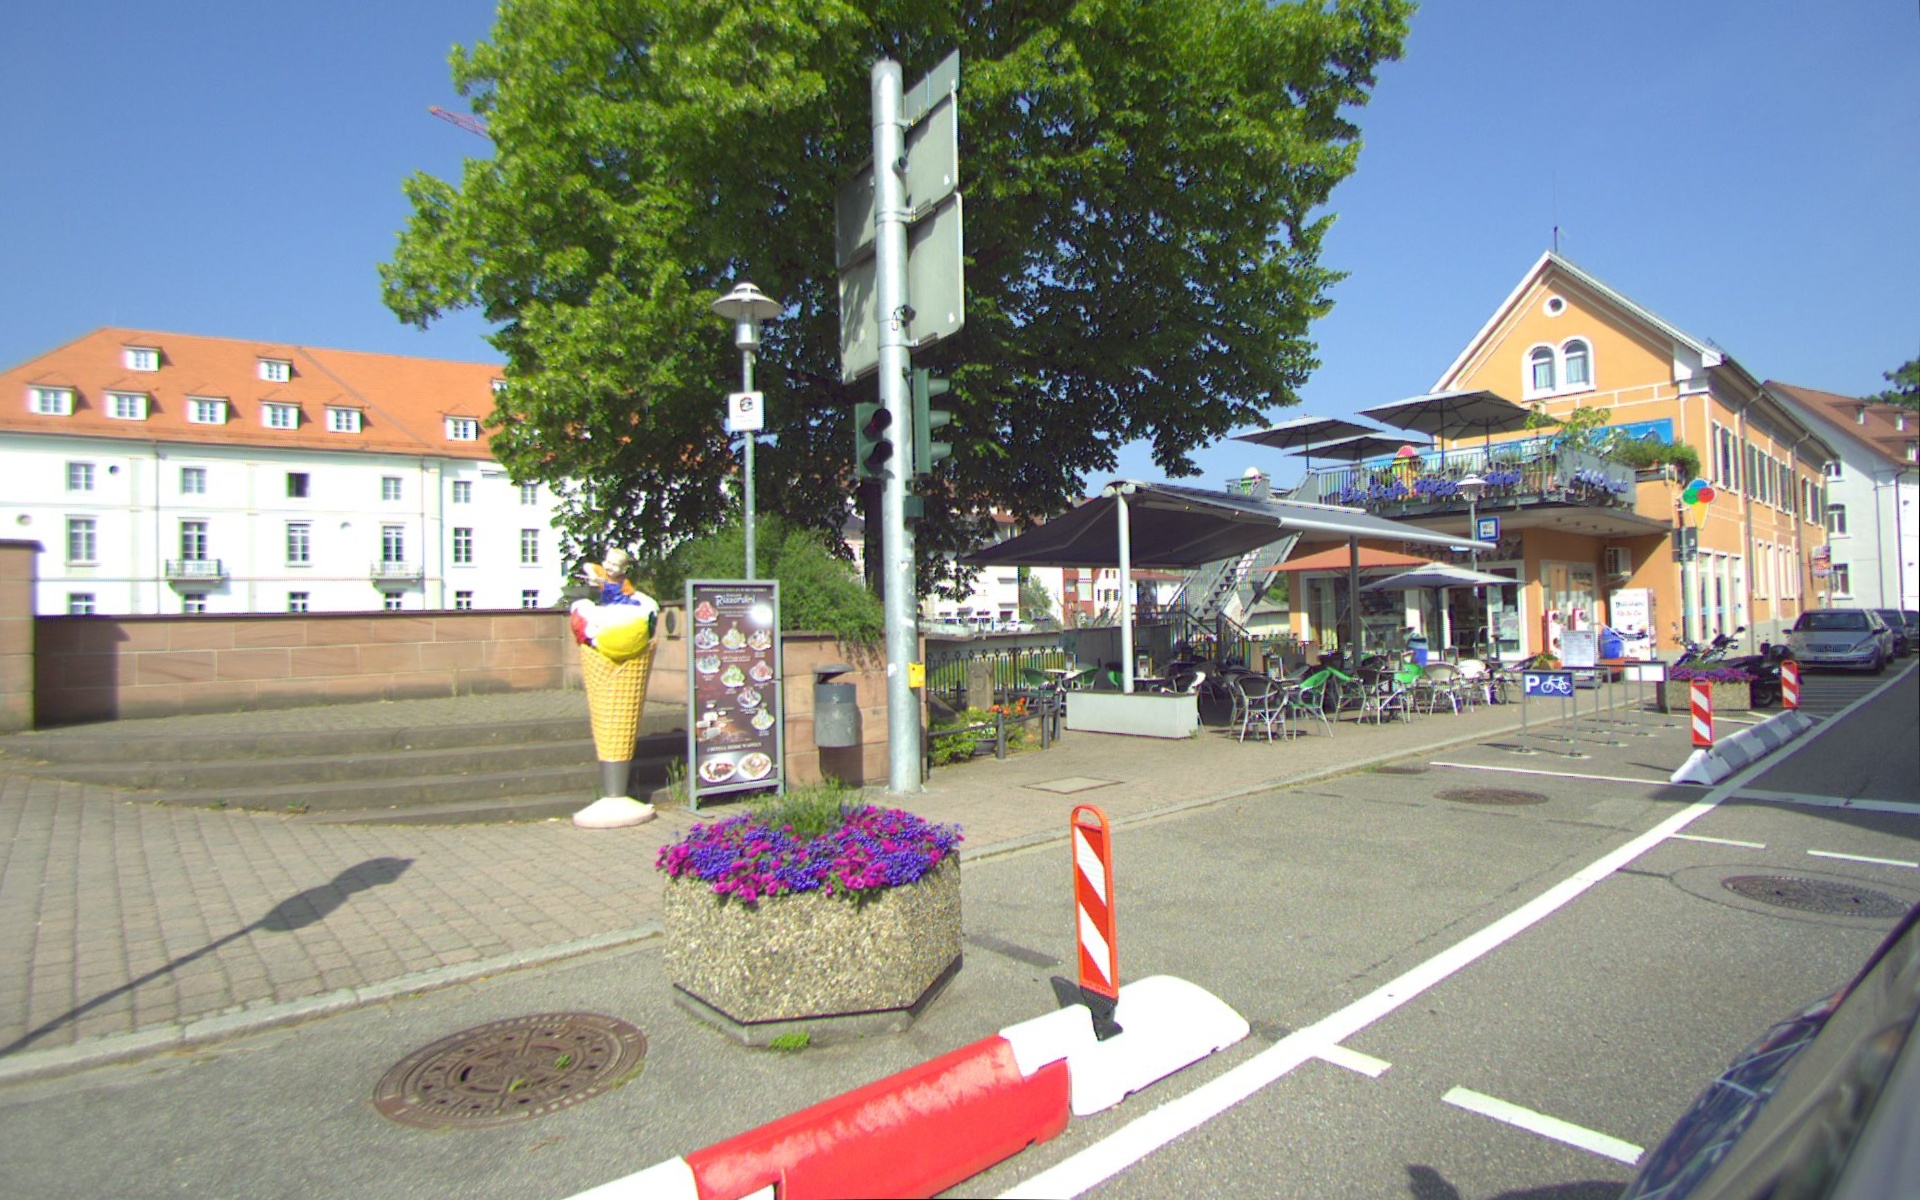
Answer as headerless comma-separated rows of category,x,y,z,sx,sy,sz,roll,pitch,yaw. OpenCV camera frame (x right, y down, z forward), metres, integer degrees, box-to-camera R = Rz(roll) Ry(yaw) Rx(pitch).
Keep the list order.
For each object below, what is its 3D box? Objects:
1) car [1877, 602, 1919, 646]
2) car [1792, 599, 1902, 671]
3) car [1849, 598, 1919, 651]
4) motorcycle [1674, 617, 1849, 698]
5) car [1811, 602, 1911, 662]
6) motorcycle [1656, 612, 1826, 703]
car,35.732,0.874,37.916,4.115,1.559,1.680,0,-1,-43
car,22.172,0.836,25.230,1.745,1.618,4.519,-3,-2,45
car,31.362,0.782,34.110,4.178,1.666,1.680,0,-1,-43
motorcycle,13.274,0.939,16.837,2.055,1.286,0.927,-1,-1,8
car,25.631,0.885,28.764,4.033,1.579,1.680,0,-2,-43
motorcycle,12.311,0.891,16.031,1.871,1.375,0.913,-1,-1,13
